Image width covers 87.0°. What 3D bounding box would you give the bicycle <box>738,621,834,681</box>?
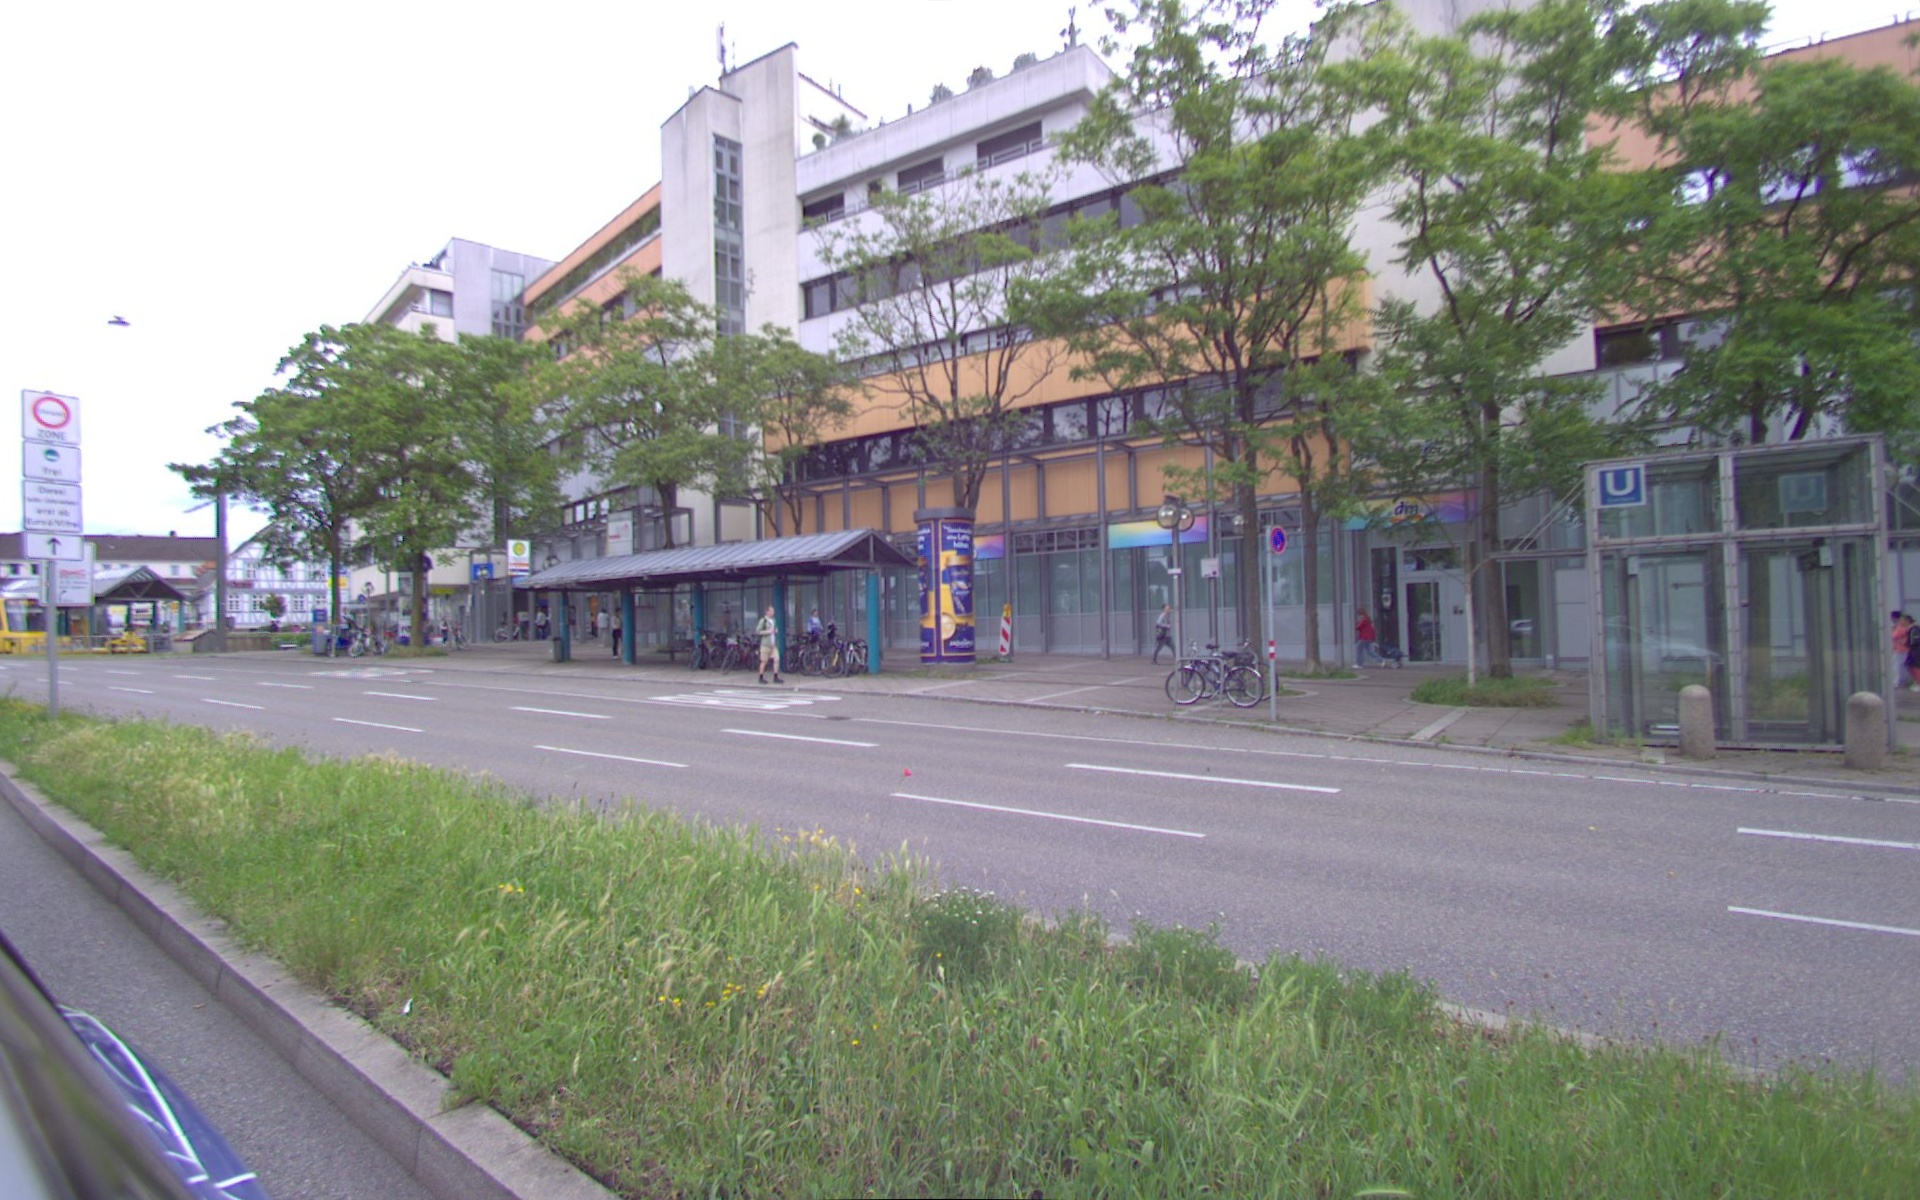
[{"bbox_3d":[-4.585,1.313,26.925,0.803,1.518,2.876,-2,-2,32],"label":"bicycle"}]

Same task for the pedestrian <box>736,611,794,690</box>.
[{"bbox_3d":[-4.692,1.194,24.327,1.212,1.836,0.697,-1,1,37],"label":"pedestrian"}]

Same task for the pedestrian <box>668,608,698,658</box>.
[{"bbox_3d":[-9.865,1.162,36.046,0.763,1.729,0.789,-2,0,-32],"label":"pedestrian"}]

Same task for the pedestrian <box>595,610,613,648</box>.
[{"bbox_3d":[-15.414,1.251,43.841,0.624,1.612,0.624,-2,0,-13],"label":"pedestrian"}]

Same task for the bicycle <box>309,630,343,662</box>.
[{"bbox_3d":[-25.031,1.793,39.975,0.594,1.170,1.971,-2,0,-17],"label":"bicycle"}]

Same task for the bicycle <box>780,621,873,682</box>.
[{"bbox_3d":[-3.457,1.324,26.627,0.776,1.518,2.876,-2,-2,32],"label":"bicycle"}]

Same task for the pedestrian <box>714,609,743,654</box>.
[{"bbox_3d":[-9.176,1.229,40.110,0.787,1.729,0.764,-2,0,32],"label":"pedestrian"}]

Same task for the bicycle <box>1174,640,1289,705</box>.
[{"bbox_3d":[5.025,1.317,18.759,1.946,1.145,0.709,-2,-2,26],"label":"bicycle"}]

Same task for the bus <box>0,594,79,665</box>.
[{"bbox_3d":[-60.443,1.954,61.662,19.255,3.889,3.851,-2,-2,29],"label":"bus"}]

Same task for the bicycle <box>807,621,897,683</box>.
[{"bbox_3d":[-2.745,1.301,26.189,0.698,1.518,2.876,-2,-2,32],"label":"bicycle"}]

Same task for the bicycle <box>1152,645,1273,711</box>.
[{"bbox_3d":[4.437,1.355,17.825,1.926,1.092,0.825,-2,-2,27],"label":"bicycle"}]

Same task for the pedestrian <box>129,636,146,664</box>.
[{"bbox_3d":[-47.587,2.871,58.538,0.618,1.585,0.594,-2,-2,30],"label":"pedestrian"}]

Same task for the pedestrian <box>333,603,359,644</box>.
[{"bbox_3d":[-29.166,1.128,48.048,0.871,1.891,0.738,-2,-2,32],"label":"pedestrian"}]

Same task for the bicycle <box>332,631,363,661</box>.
[{"bbox_3d":[-24.158,1.806,39.930,0.594,1.170,1.971,0,-2,-18],"label":"bicycle"}]

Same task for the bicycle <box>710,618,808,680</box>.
[{"bbox_3d":[-5.420,1.296,27.530,0.809,1.518,2.876,-2,0,33],"label":"bicycle"}]

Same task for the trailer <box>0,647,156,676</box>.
[{"bbox_3d":[-46.822,3.198,53.132,12.072,1.343,2.822,-2,-2,29],"label":"trailer"}]

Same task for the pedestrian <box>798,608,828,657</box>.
[{"bbox_3d":[-4.952,1.093,34.115,0.705,1.595,0.660,-2,0,35],"label":"pedestrian"}]

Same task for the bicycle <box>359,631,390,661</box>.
[{"bbox_3d":[-23.718,1.876,40.996,1.966,1.170,0.596,-3,-3,44],"label":"bicycle"}]

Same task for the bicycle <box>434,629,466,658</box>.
[{"bbox_3d":[-21.469,1.810,42.605,0.663,1.170,2.023,-1,-2,-11],"label":"bicycle"}]

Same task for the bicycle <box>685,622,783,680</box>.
[{"bbox_3d":[-6.213,1.379,27.998,0.888,1.518,2.876,-2,-2,32],"label":"bicycle"}]

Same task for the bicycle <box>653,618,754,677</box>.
[{"bbox_3d":[-7.272,1.325,28.881,0.969,1.518,2.877,-2,0,32],"label":"bicycle"}]

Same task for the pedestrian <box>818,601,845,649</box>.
[{"bbox_3d":[-4.399,0.862,34.585,0.621,1.612,0.627,-2,0,35],"label":"pedestrian"}]

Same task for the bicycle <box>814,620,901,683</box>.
[{"bbox_3d":[-2.588,1.287,26.029,0.597,1.518,2.876,-2,-2,32],"label":"bicycle"}]

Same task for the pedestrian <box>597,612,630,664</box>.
[{"bbox_3d":[-11.871,1.284,34.705,0.705,1.725,0.768,-2,0,35],"label":"pedestrian"}]

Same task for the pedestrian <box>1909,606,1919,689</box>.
[{"bbox_3d":[18.872,0.909,19.519,0.678,1.601,0.513,-2,-2,32],"label":"pedestrian"}]

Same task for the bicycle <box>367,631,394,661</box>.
[{"bbox_3d":[-22.805,1.802,39.847,0.594,1.170,1.695,0,-2,-19],"label":"bicycle"}]

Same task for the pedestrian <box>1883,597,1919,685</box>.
[{"bbox_3d":[18.972,0.816,20.194,0.678,1.740,0.560,-2,-2,32],"label":"pedestrian"}]
